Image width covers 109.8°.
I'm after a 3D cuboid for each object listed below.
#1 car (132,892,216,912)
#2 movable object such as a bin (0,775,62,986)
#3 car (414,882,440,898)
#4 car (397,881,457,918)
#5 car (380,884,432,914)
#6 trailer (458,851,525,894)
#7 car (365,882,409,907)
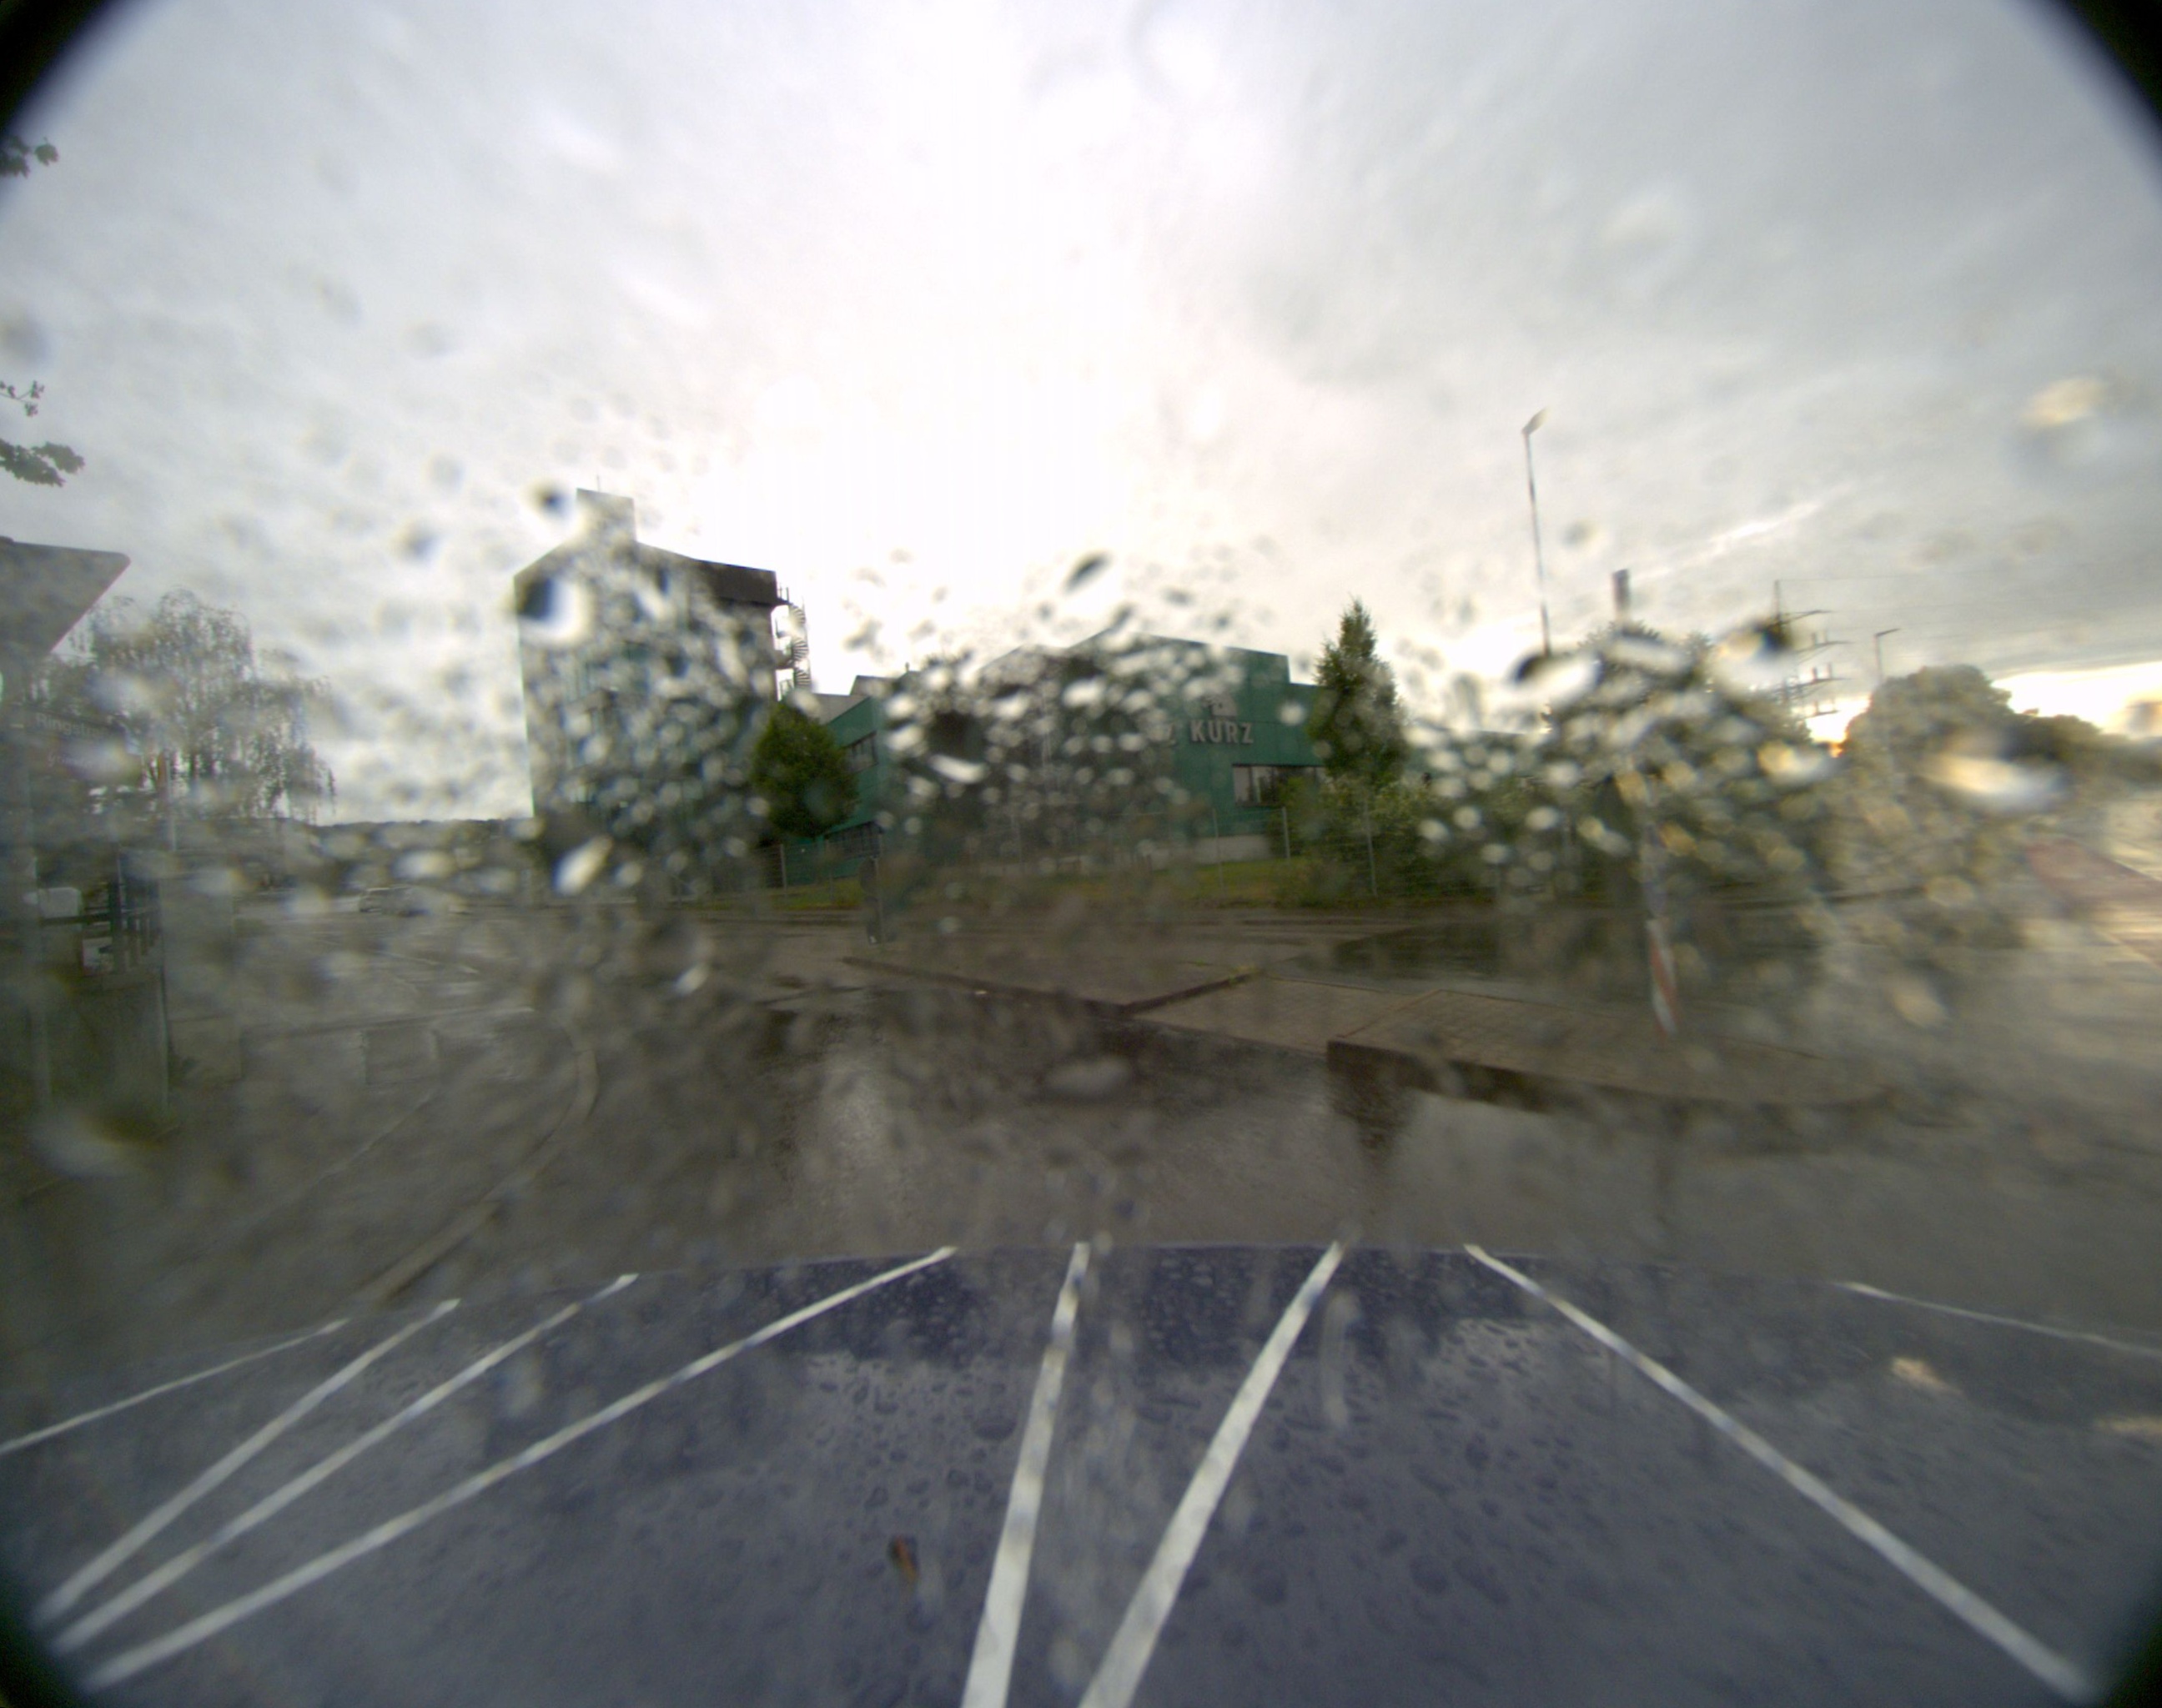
[{"bbox_3d":[-83.805,4.429,70.311,4.634,1.488,1.936,-3,1,-37],"label":"car"},{"bbox_3d":[-8.667,0.230,5.551,1.854,1.492,1.313,-2,1,34],"label":"movable object such as a bin"},{"bbox_3d":[-90.445,4.934,105.117,2.003,2.002,3.991,-3,0,-32],"label":"car"},{"bbox_3d":[-35.175,2.395,40.814,3.948,1.787,1.748,-2,1,40],"label":"car"},{"bbox_3d":[-39.003,2.585,43.875,4.073,1.549,1.641,-2,0,40],"label":"car"},{"bbox_3d":[-59.065,1.815,76.218,4.696,4.065,2.389,-3,1,1],"label":"trailer"},{"bbox_3d":[-47.096,2.713,51.557,4.238,1.527,1.744,-2,1,42],"label":"car"}]
